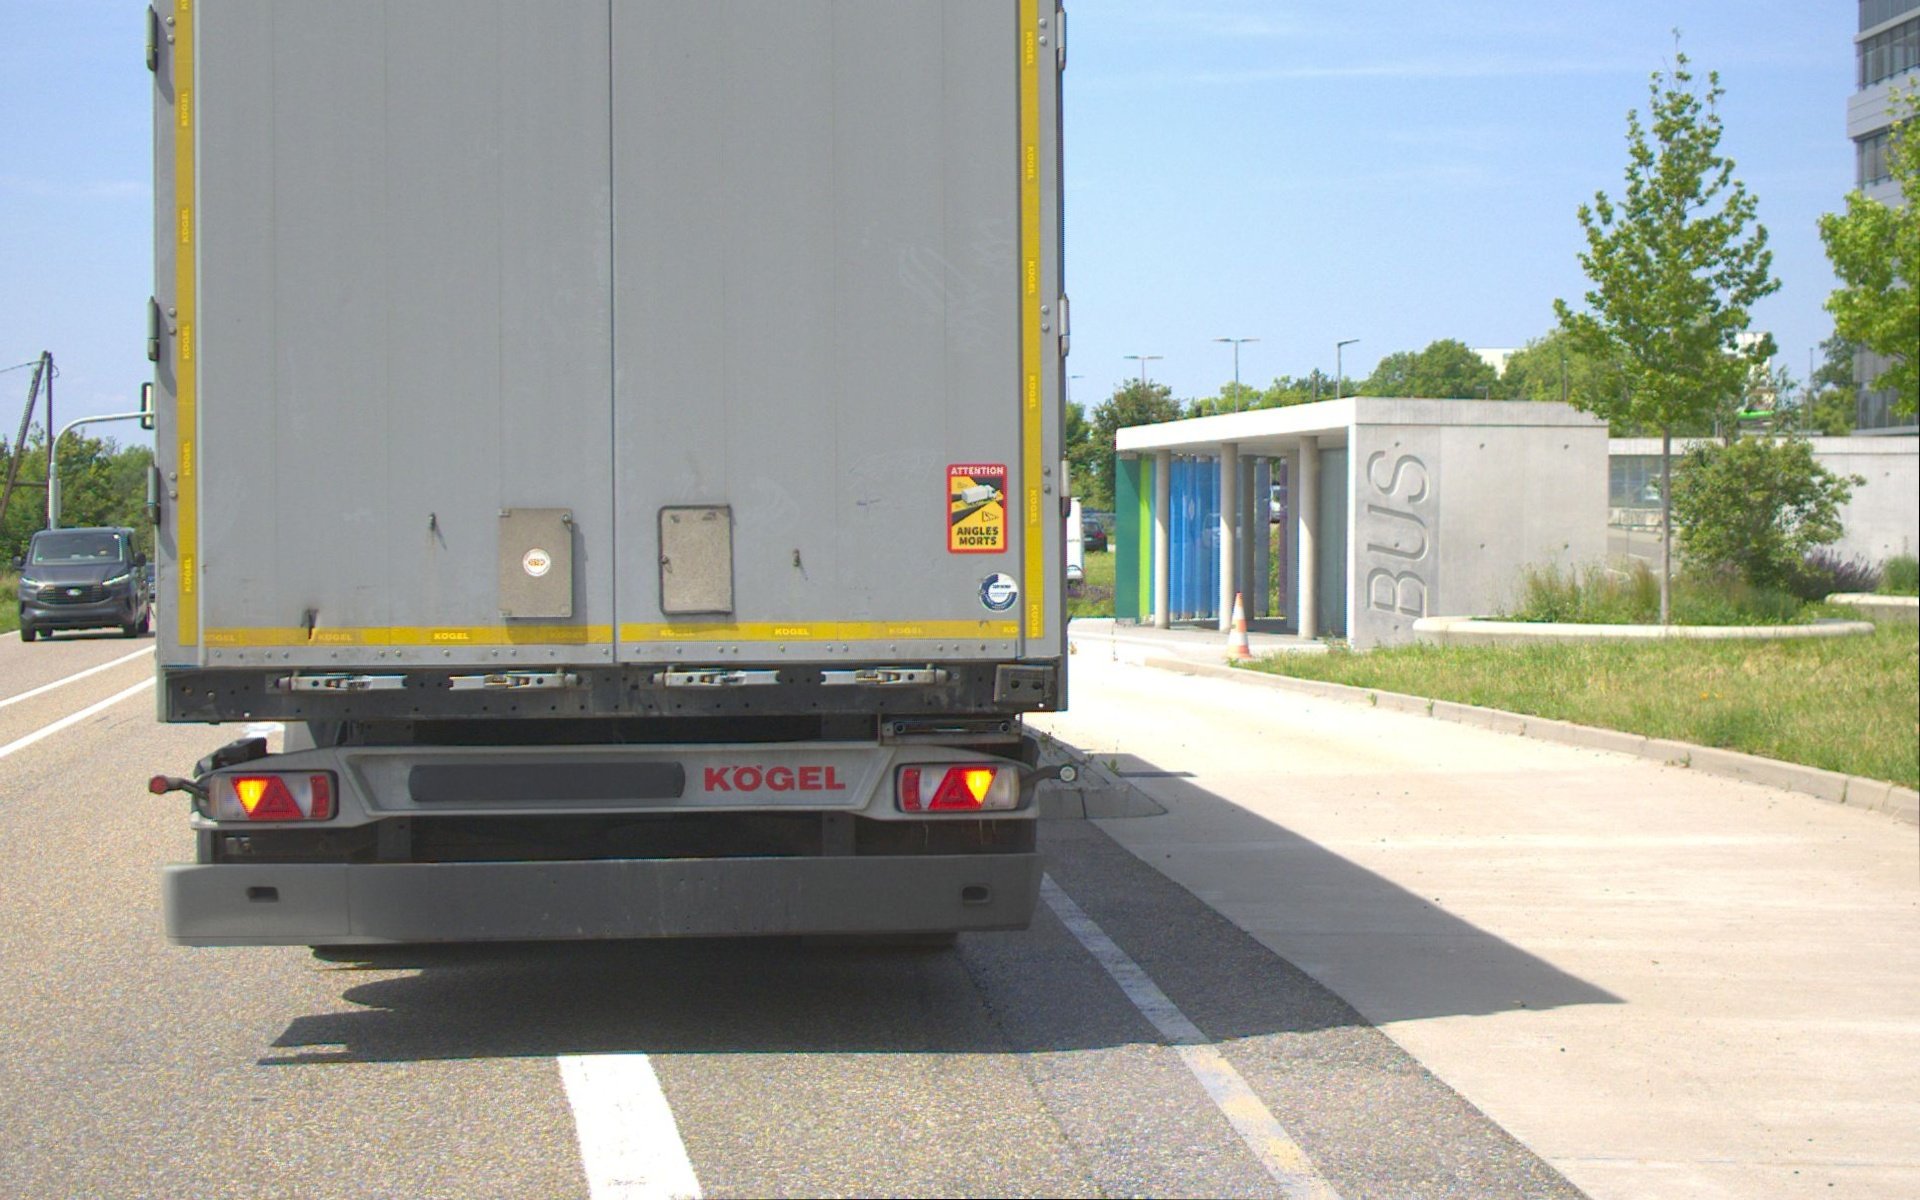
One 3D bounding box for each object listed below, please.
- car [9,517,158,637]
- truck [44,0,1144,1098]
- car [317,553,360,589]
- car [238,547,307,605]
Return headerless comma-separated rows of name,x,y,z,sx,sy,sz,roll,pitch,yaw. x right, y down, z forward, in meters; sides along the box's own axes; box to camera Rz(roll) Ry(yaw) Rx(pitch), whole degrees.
car,-15.554,-0.449,61.219,1.993,1.971,5.280,-2,1,-9
truck,-1.354,-0.966,13.568,2.906,4.395,8.862,0,1,-5
car,-36.377,-1.700,201.316,2.171,2.007,4.527,-2,1,-7
car,-23.246,-0.831,116.357,1.993,1.809,4.297,-2,1,-9
